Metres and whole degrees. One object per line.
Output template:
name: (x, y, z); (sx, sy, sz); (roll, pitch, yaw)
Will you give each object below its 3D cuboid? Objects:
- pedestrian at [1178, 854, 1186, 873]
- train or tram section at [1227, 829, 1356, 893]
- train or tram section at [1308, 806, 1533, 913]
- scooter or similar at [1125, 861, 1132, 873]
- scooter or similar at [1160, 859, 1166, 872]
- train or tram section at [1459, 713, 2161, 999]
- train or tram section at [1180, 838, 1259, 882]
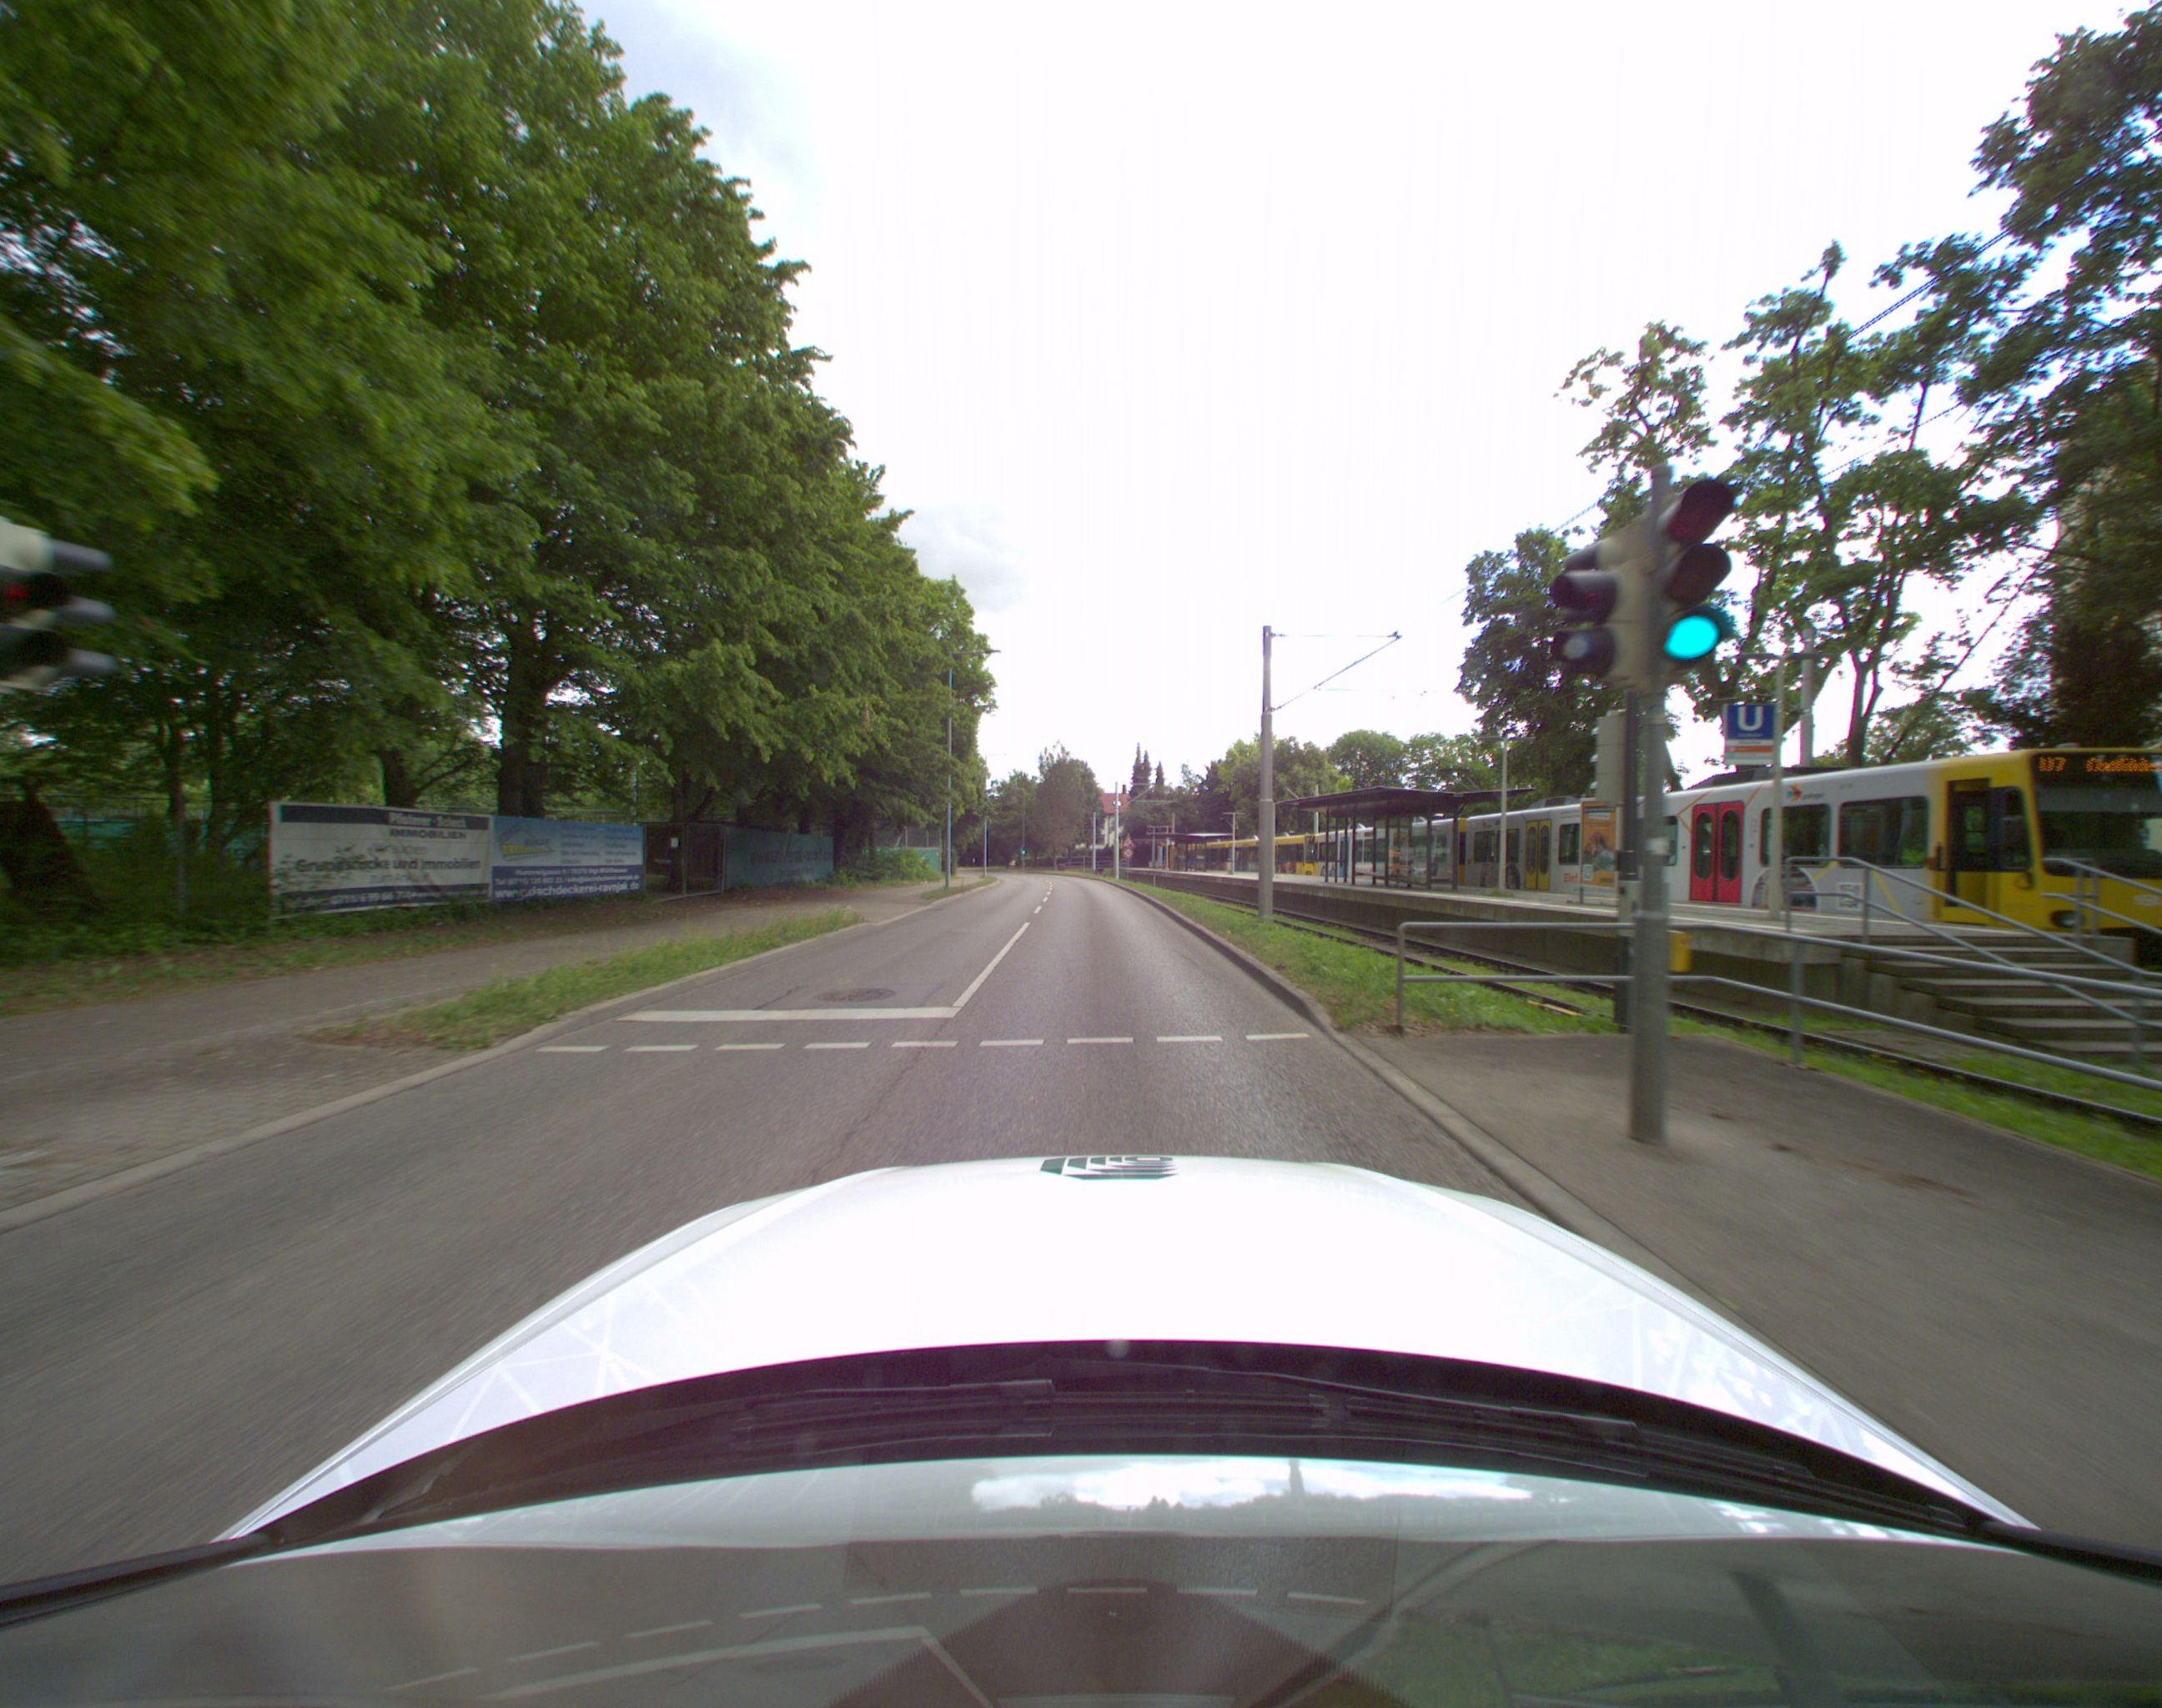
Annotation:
pedestrian: (8.750, 0.817, 70.483); (0.618, 1.573, 0.667); (-1, -1, 12)
train or tram section: (14.188, 0.474, 57.770); (2.808, 3.737, 19.484); (1, -1, -4)
train or tram section: (14.904, 0.281, 38.866); (2.804, 3.799, 18.929); (1, -1, 0)
scooter or similar: (5.014, 1.350, 85.767); (0.430, 1.253, 1.248); (-1, -3, -14)
scooter or similar: (7.683, 1.084, 76.022); (0.367, 1.242, 1.144); (0, -1, -5)
train or tram section: (14.529, 0.123, 19.955); (2.802, 3.737, 18.545); (1, -1, 3)
train or tram section: (12.687, 0.570, 77.272); (2.808, 3.589, 19.484); (1, -1, -4)
